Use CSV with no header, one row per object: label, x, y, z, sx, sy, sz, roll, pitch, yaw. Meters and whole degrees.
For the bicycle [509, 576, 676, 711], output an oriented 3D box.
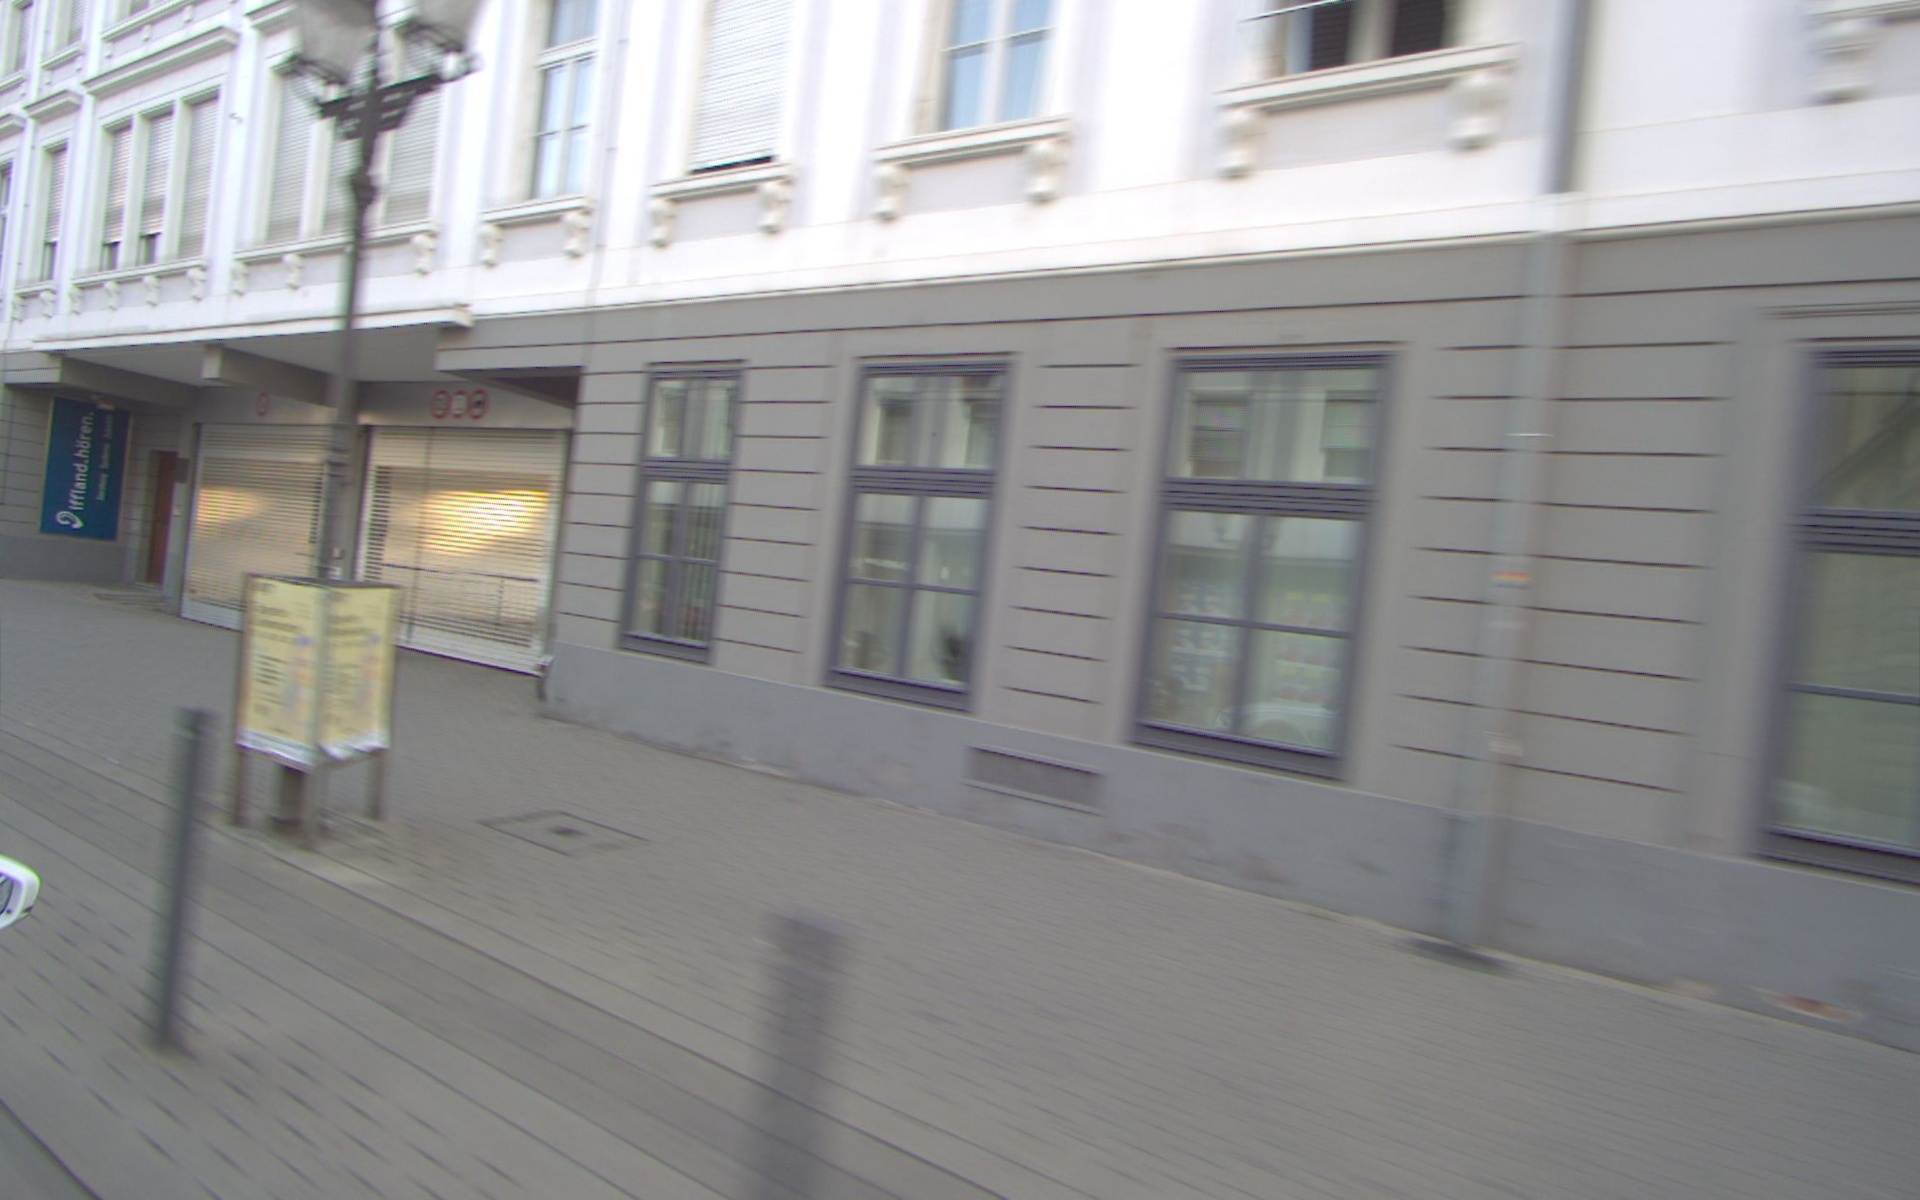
bicycle,-3.777,0.476,10.490,0.431,1.268,1.660,7,0,28
